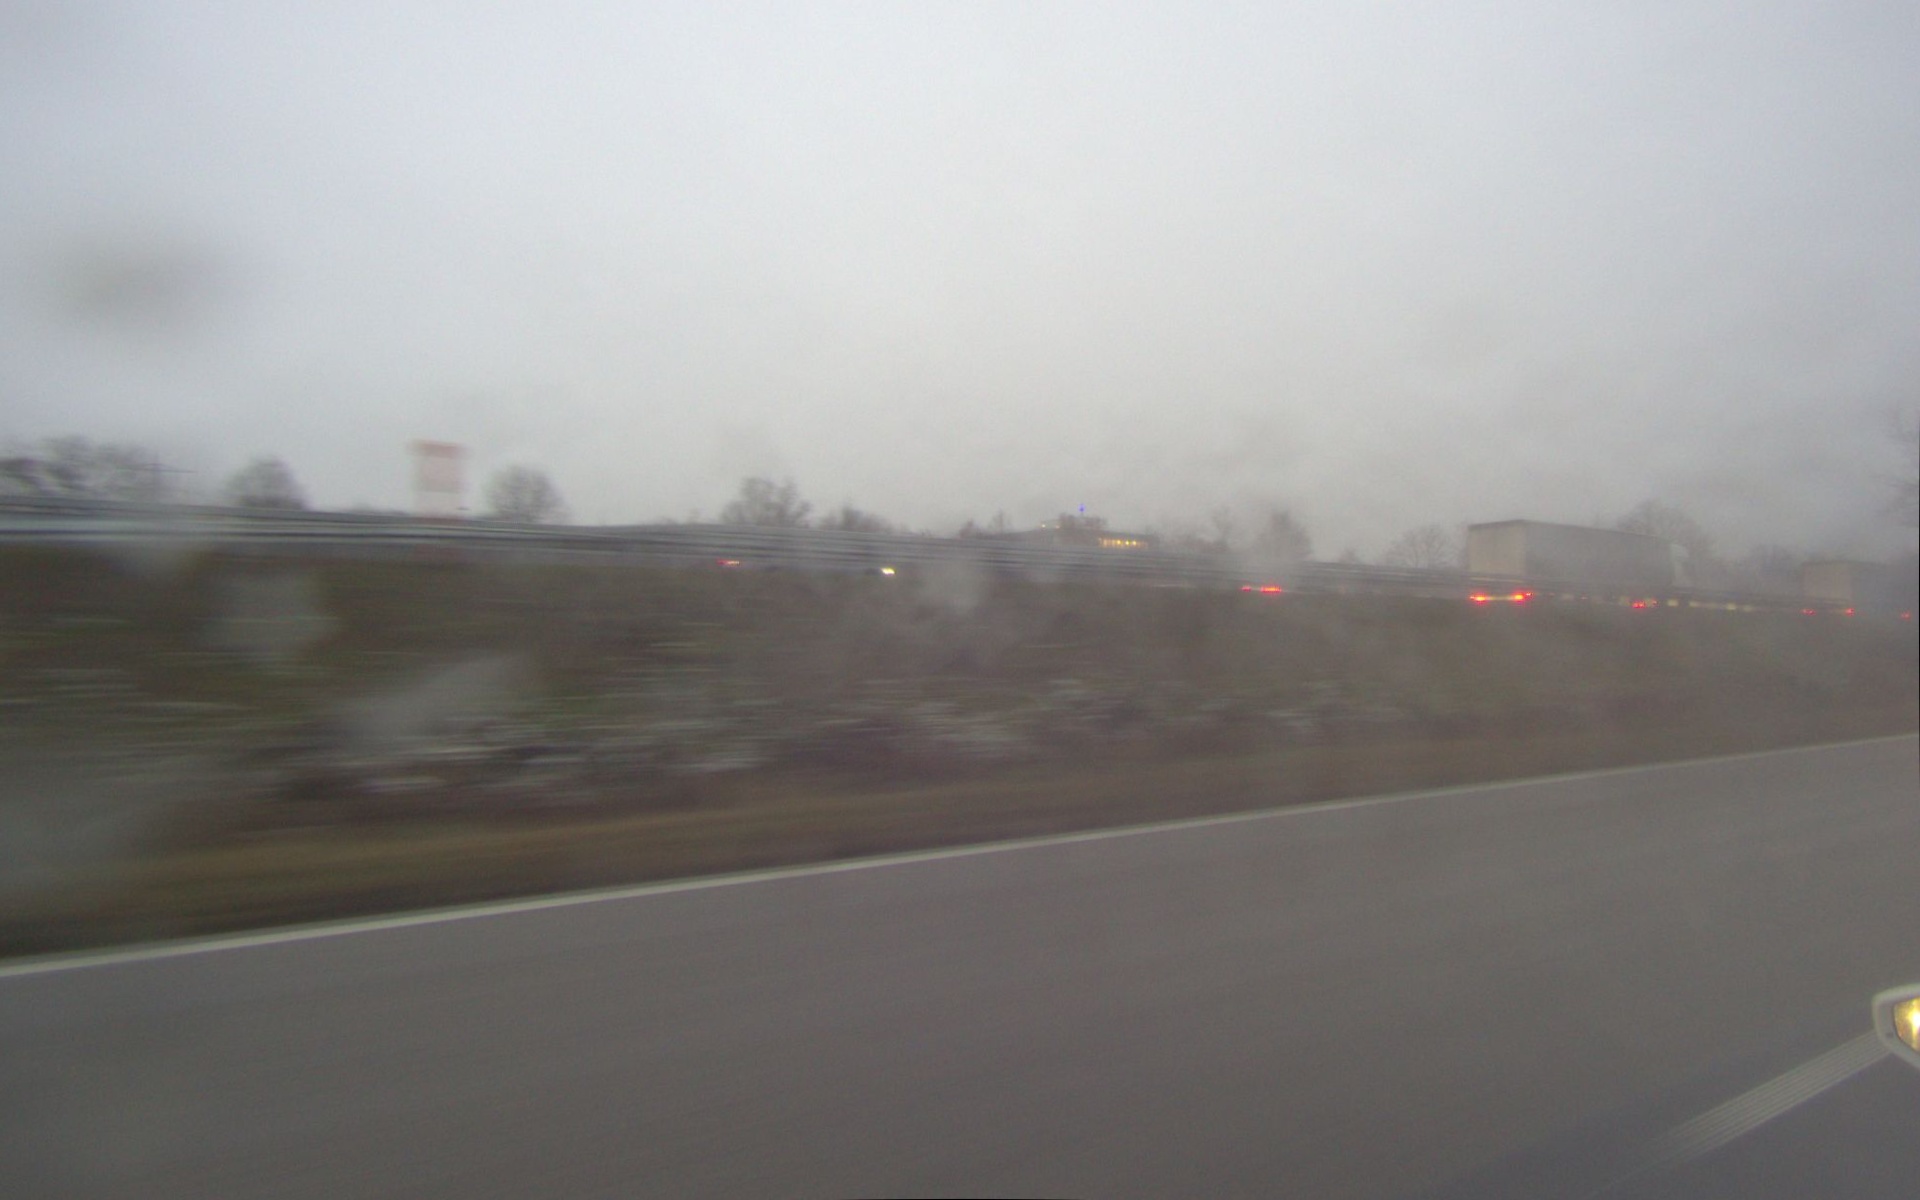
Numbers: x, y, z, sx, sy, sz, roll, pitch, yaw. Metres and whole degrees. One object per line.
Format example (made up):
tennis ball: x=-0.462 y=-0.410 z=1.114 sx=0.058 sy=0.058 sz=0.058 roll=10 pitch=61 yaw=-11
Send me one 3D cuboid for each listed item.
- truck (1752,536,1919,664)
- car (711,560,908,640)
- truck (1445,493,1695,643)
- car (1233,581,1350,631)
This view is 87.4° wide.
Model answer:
truck: x=69.596 y=0.415 z=78.387 sx=39.890 sy=7.815 sz=7.467 roll=2 pitch=0 yaw=-45
car: x=-4.168 y=0.039 z=28.026 sx=5.044 sy=2.040 sz=1.984 roll=2 pitch=0 yaw=-30
truck: x=30.120 y=-1.228 z=49.075 sx=15.563 sy=6.372 sz=3.743 roll=2 pitch=0 yaw=-32
car: x=14.519 y=0.287 z=43.862 sx=5.044 sy=2.040 sz=1.984 roll=2 pitch=0 yaw=-30
